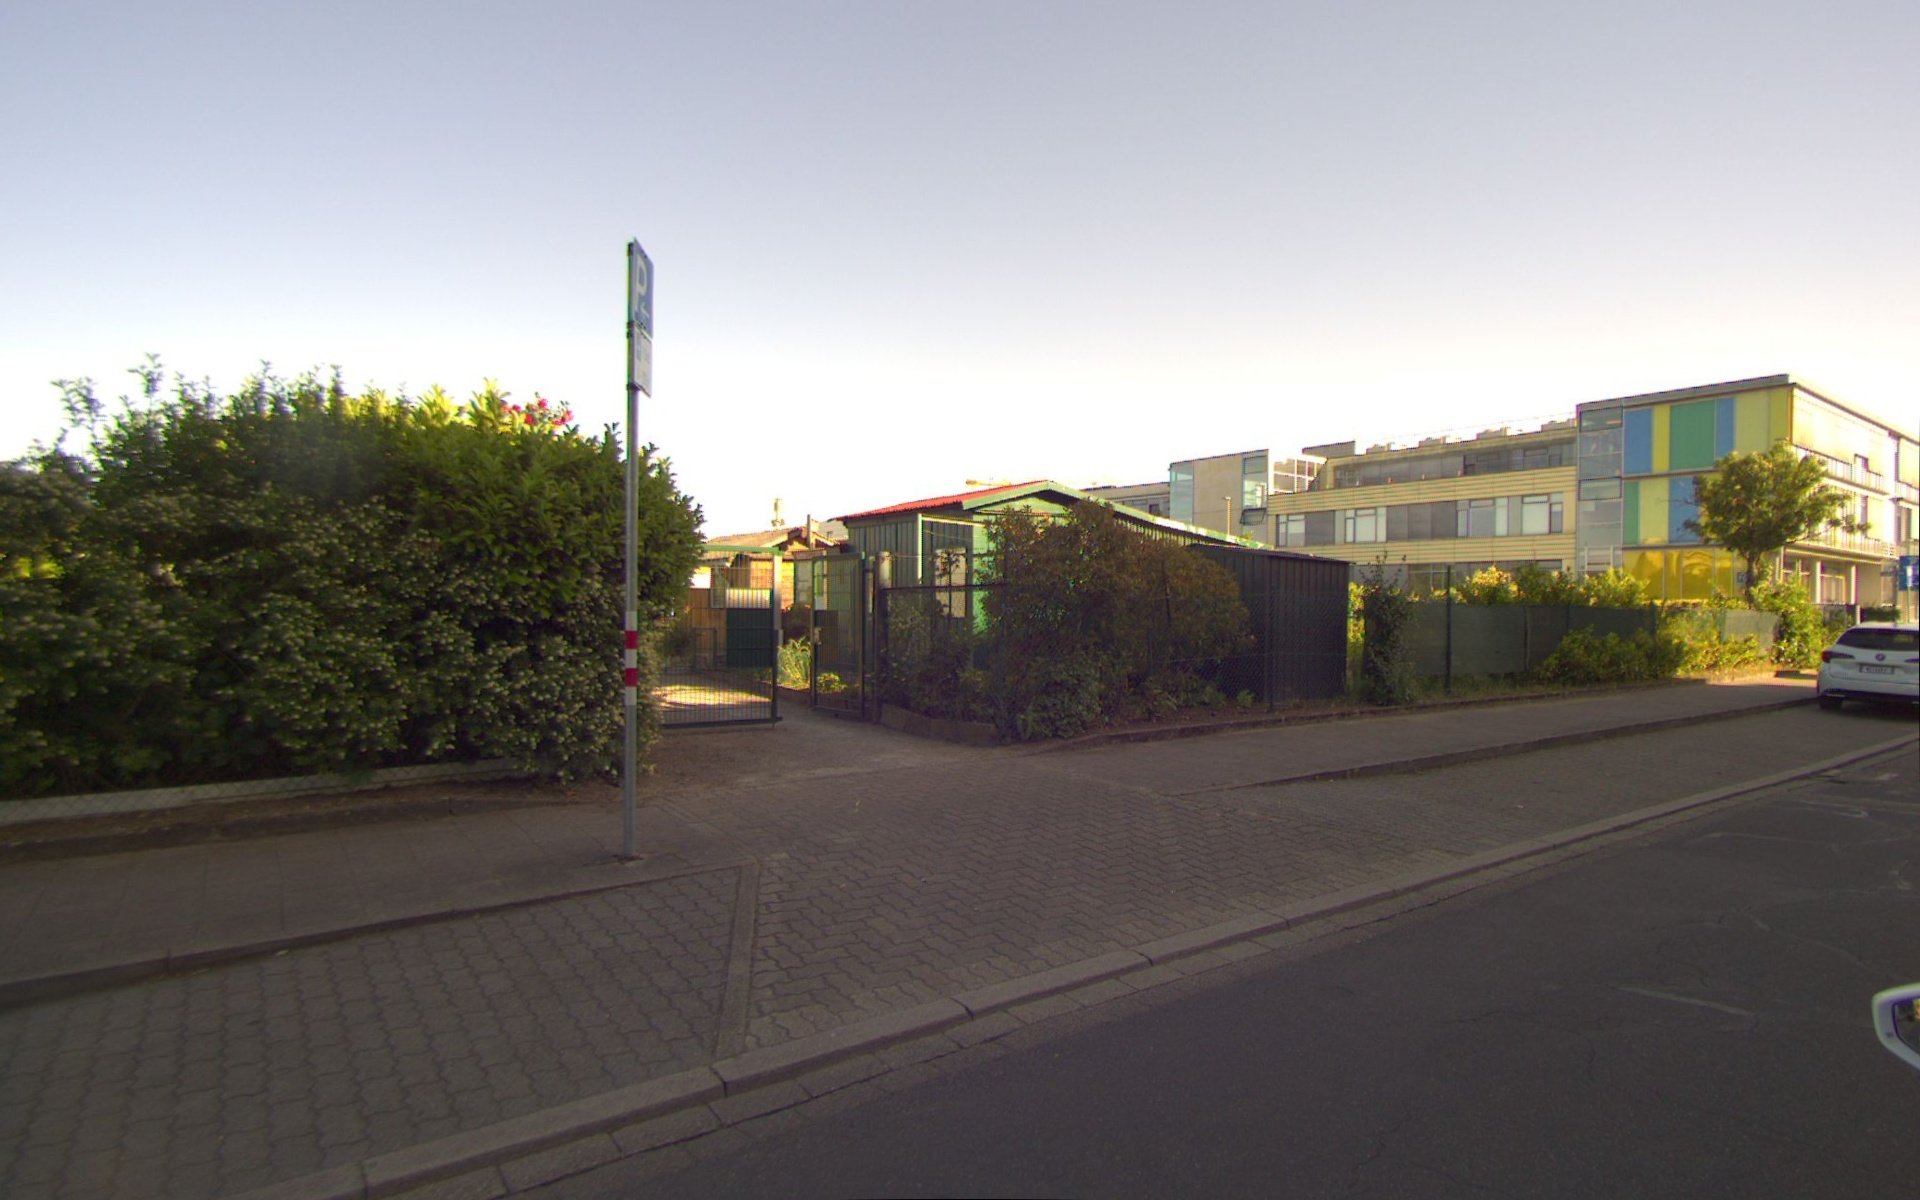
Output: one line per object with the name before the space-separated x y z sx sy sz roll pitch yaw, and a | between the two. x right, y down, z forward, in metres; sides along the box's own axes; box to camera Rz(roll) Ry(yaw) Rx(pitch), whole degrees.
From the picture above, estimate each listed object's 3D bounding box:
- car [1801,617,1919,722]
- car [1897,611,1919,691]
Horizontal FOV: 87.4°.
car | 15.577 1.057 16.455 4.498 1.465 1.734 1 2 -37
car | 20.675 1.034 20.367 4.475 1.534 1.683 1 2 -37
